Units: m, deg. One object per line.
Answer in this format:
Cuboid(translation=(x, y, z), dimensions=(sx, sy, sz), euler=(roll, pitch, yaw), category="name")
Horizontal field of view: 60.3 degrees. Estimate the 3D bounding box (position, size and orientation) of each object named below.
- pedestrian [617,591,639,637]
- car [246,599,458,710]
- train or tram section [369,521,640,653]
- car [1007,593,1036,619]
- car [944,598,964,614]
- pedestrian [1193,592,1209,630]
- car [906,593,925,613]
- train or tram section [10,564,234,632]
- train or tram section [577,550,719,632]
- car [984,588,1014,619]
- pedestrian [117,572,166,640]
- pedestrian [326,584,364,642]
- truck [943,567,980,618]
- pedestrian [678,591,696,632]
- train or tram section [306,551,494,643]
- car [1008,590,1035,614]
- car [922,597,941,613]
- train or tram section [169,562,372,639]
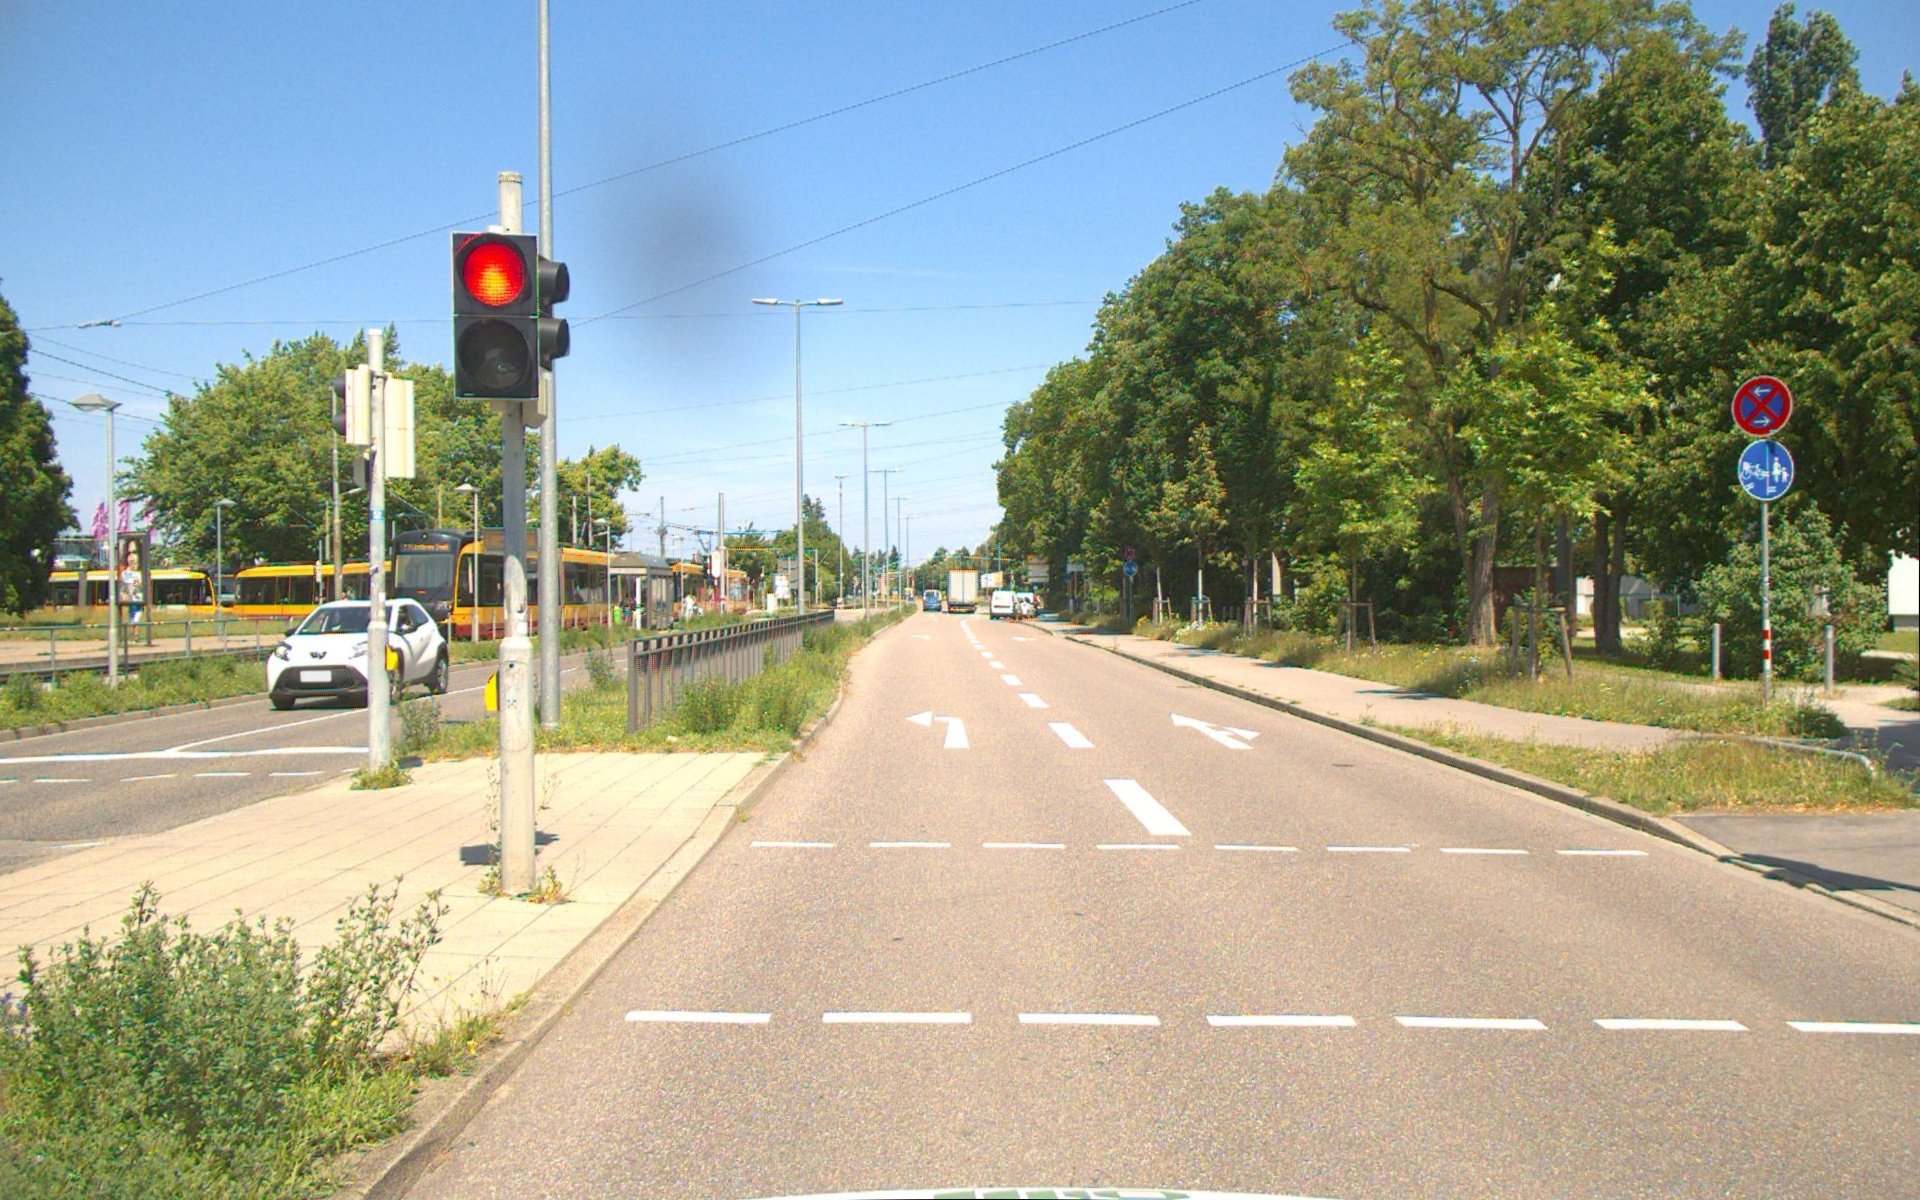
Cuboid(translation=(-13.850, 0.586, 69.073), dimensions=(0.769, 1.901, 0.817), euler=(0, 0, -1), category="pedestrian")
Cuboid(translation=(-8.972, 0.748, 24.745), dimensions=(1.807, 1.521, 3.790), euler=(0, 0, -1), category="car")
Cuboid(translation=(-16.103, -0.425, 62.933), dimensions=(2.898, 3.815, 30.022), euler=(0, 0, -2), category="train or tram section")
Cuboid(translation=(4.181, 0.385, 112.495), dimensions=(1.743, 1.698, 3.999), euler=(0, 0, -1), category="car")
Cuboid(translation=(-0.592, 0.544, 153.592), dimensions=(1.774, 1.490, 3.999), euler=(0, 0, -1), category="car")
Cuboid(translation=(9.465, 0.425, 65.016), dimensions=(0.591, 1.463, 0.556), euler=(0, 0, 6), category="pedestrian")
Cuboid(translation=(-4.700, 0.311, 175.081), dimensions=(1.953, 2.049, 3.999), euler=(0, 0, -1), category="car")
Cuboid(translation=(-52.701, -0.111, 103.570), dimensions=(18.095, 4.000, 3.220), euler=(0, 0, 30), category="train or tram section")
Cuboid(translation=(-17.074, -0.503, 94.371), dimensions=(2.872, 3.856, 33.075), euler=(0, 0, -2), category="train or tram section")
Cuboid(translation=(2.453, 0.209, 105.541), dimensions=(1.743, 1.937, 3.999), euler=(0, 0, -1), category="car")
Cuboid(translation=(-24.668, 0.175, 49.871), dimensions=(0.961, 2.049, 1.021), euler=(0, 0, -1), category="pedestrian")
Cuboid(translation=(-21.919, 0.473, 58.962), dimensions=(0.961, 2.049, 1.021), euler=(0, 0, -1), category="pedestrian")
Cuboid(translation=(0.069, -0.659, 146.114), dimensions=(3.140, 4.435, 6.559), euler=(0, 0, -1), category="truck")
Cuboid(translation=(-13.750, 0.576, 83.338), dimensions=(0.798, 2.049, 0.938), euler=(0, 0, -1), category="pedestrian")
Cuboid(translation=(-27.631, -0.134, 80.545), dimensions=(3.191, 4.000, 18.257), euler=(0, 0, -37), category="train or tram section")
Cuboid(translation=(4.405, 0.104, 118.846), dimensions=(1.743, 1.698, 3.999), euler=(0, 0, -1), category="car")
Cuboid(translation=(-2.687, 0.503, 157.828), dimensions=(1.774, 1.490, 3.999), euler=(0, 0, -1), category="car")
Cuboid(translation=(-39.408, 0.027, 93.807), dimensions=(18.169, 4.000, 3.207), euler=(0, 0, 42), category="train or tram section")
